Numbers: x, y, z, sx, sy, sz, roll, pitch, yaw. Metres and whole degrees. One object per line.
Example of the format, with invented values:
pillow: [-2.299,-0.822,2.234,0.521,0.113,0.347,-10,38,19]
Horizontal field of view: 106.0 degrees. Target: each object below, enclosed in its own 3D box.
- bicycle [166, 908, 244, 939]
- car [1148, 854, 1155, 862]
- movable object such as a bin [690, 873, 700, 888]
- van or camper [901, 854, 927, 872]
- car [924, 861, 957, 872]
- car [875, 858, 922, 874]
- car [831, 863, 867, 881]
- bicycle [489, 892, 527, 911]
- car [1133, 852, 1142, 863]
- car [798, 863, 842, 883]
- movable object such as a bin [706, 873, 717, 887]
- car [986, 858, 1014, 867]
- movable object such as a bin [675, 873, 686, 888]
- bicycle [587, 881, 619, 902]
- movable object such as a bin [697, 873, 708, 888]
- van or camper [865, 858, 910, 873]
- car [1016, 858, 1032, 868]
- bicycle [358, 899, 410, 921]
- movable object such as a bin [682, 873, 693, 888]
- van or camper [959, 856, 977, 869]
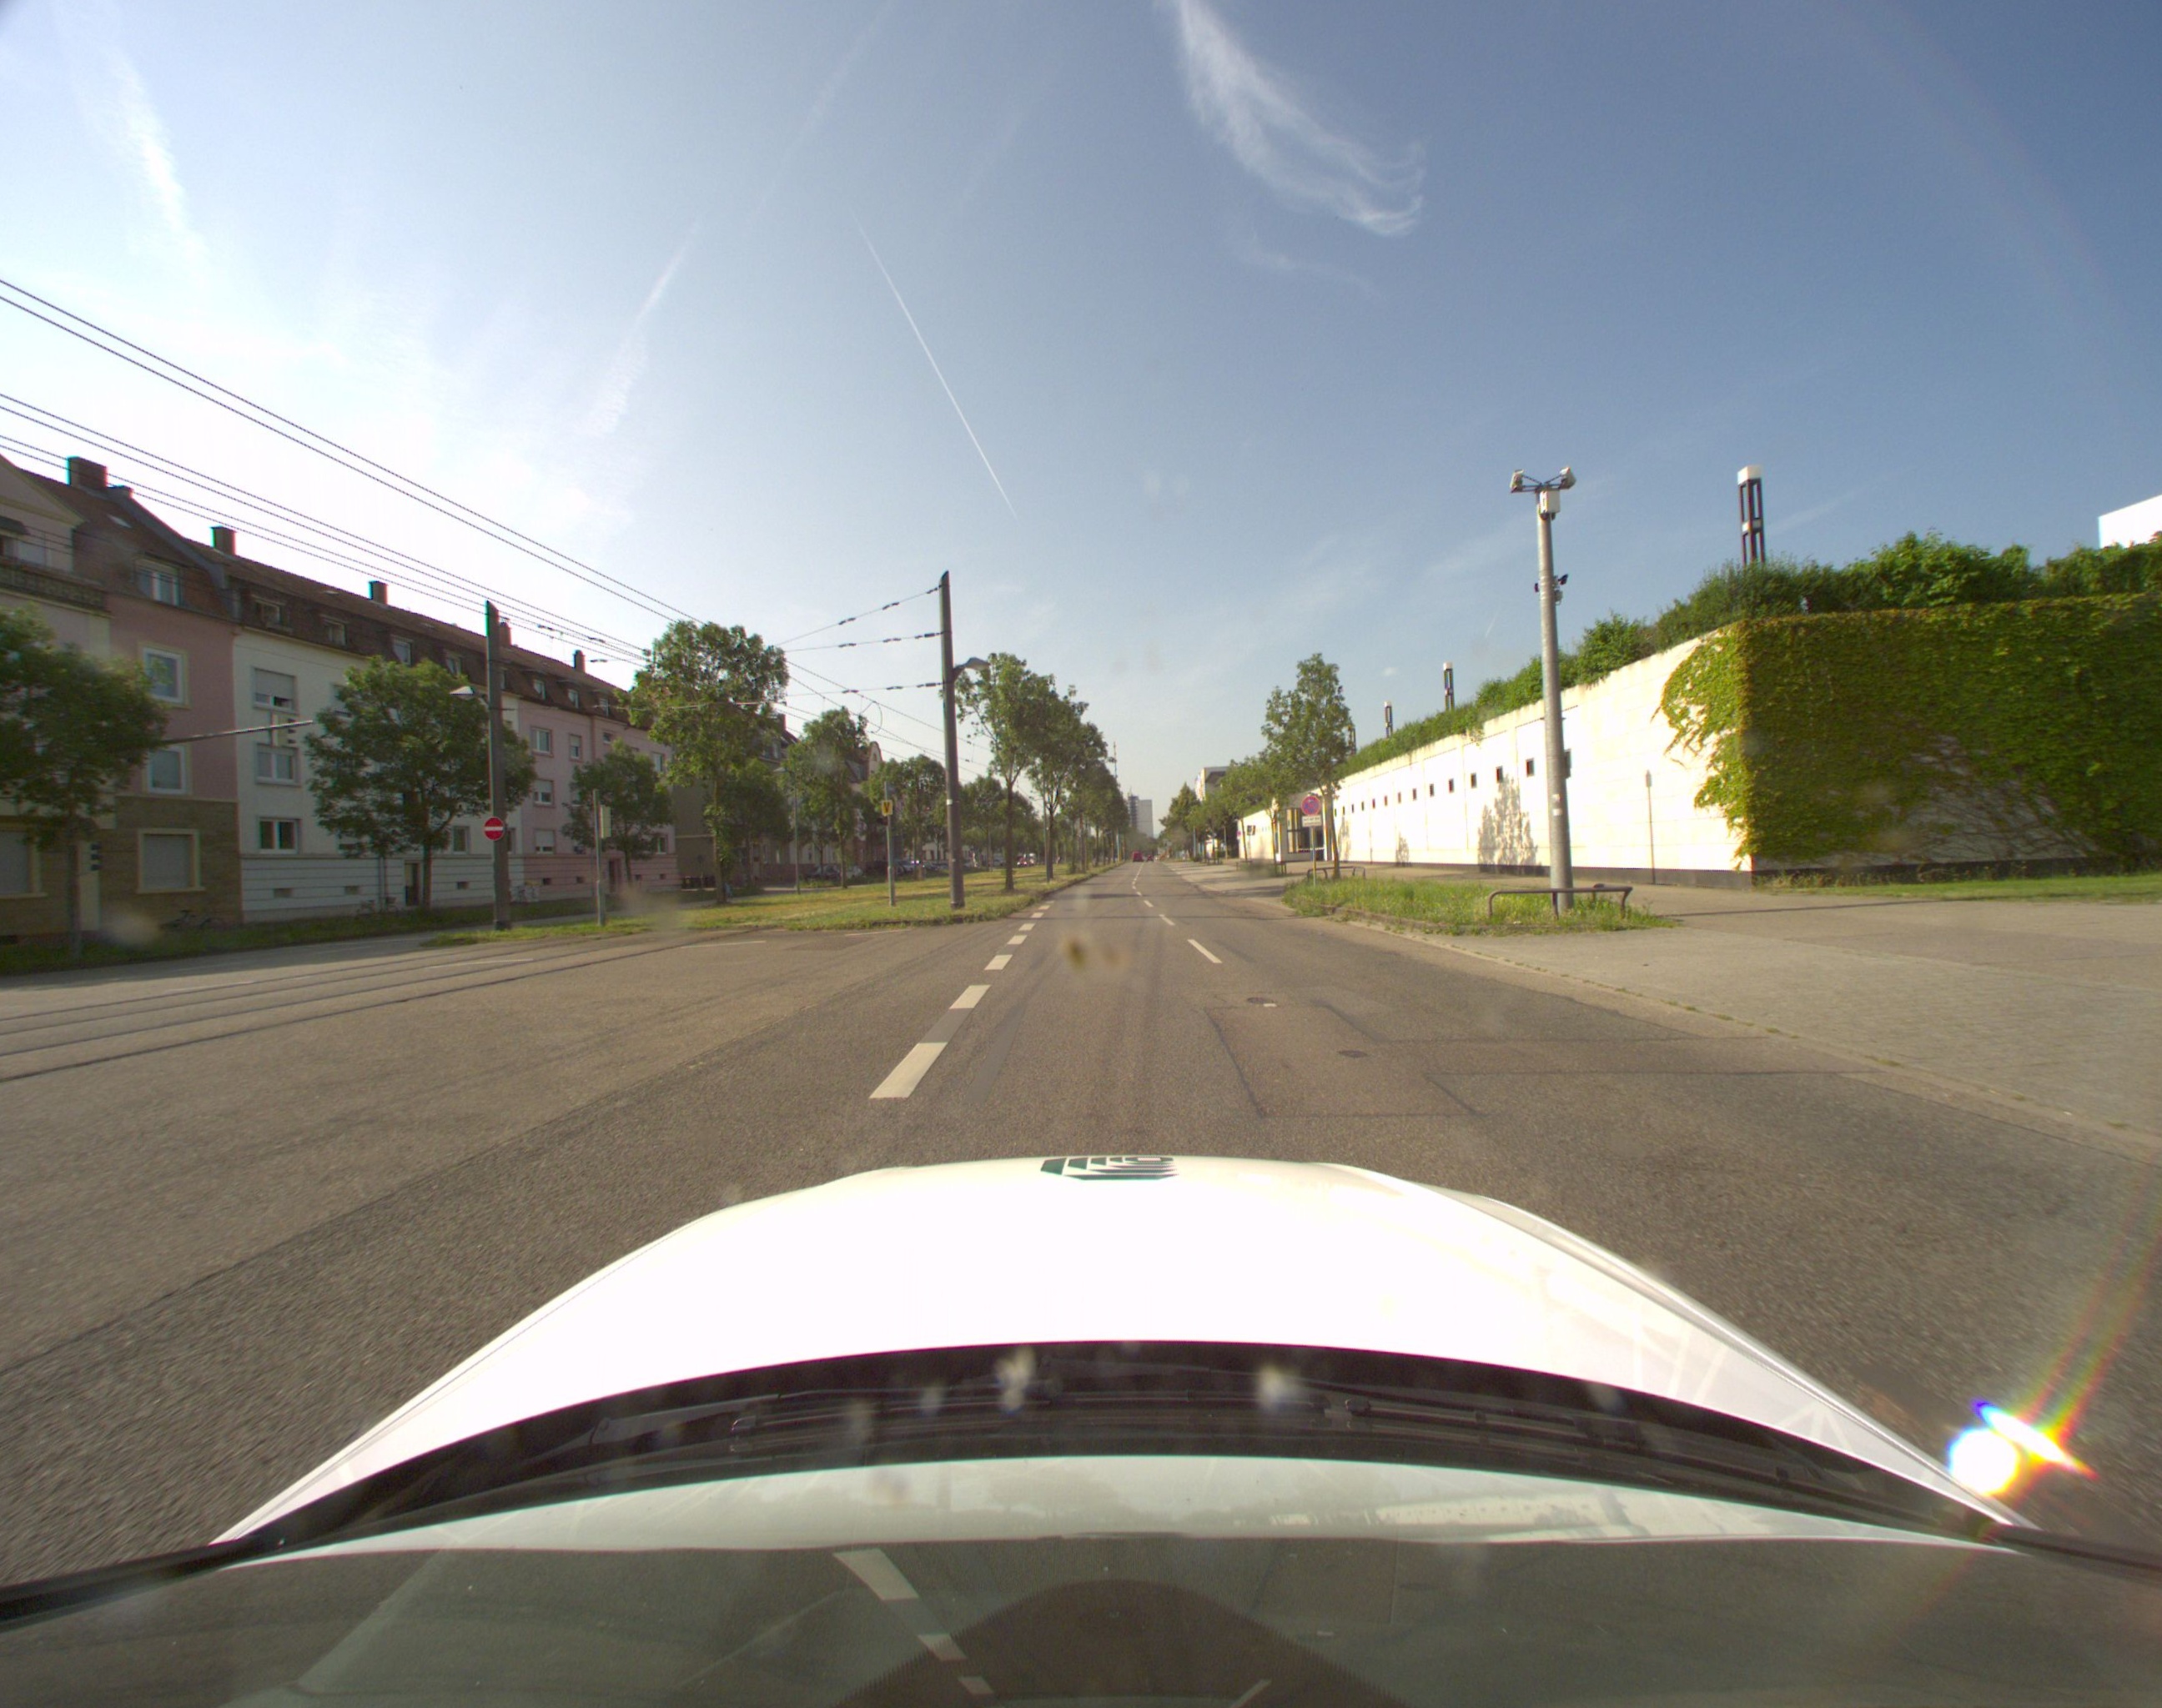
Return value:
bicycle: [-29.892,2.361,27.840,0.465,0.889,1.949,-1,0,3]
car: [18.241,1.045,211.478,1.740,2.014,3.220,-1,0,5]
movable object such as a bin: [-32.563,2.220,68.715,0.582,1.211,0.641,-1,-1,3]
van or camper: [-24.341,1.279,118.977,2.030,2.567,6.364,-1,0,4]
car: [-18.172,1.585,105.475,3.953,1.417,1.585,-1,0,21]
car: [-20.051,1.326,89.314,5.154,1.623,2.070,-1,-1,35]
car: [-22.734,1.768,79.849,1.879,1.628,4.165,-1,0,7]
bicycle: [-28.846,2.374,41.021,0.445,0.857,1.949,-1,0,3]
car: [10.737,0.703,154.637,1.740,2.014,3.220,-1,0,5]
car: [-23.507,1.698,73.436,1.983,1.628,4.784,-1,0,6]
movable object such as a bin: [-31.202,2.208,68.716,0.582,1.211,0.641,-1,-1,3]
car: [-15.123,1.551,151.109,5.258,1.738,2.013,-1,-1,38]
movable object such as a bin: [-33.820,2.231,68.777,0.582,1.211,0.641,-1,-1,3]
bicycle: [-28.228,2.216,48.132,0.601,1.128,1.949,-1,0,3]
movable object such as a bin: [-31.937,2.214,68.666,0.582,1.211,0.641,-1,-1,3]
van or camper: [-20.638,1.210,86.769,4.787,1.623,2.015,-1,-1,37]
car: [-10.173,1.568,145.289,1.953,1.694,4.307,-1,0,8]
bicycle: [-29.384,2.354,34.358,0.435,0.789,1.949,-1,0,3]
movable object such as a bin: [-33.176,2.225,68.735,0.582,1.211,0.641,-1,-1,3]
van or camper: [-21.707,1.647,156.632,1.983,2.328,5.838,-1,0,7]
